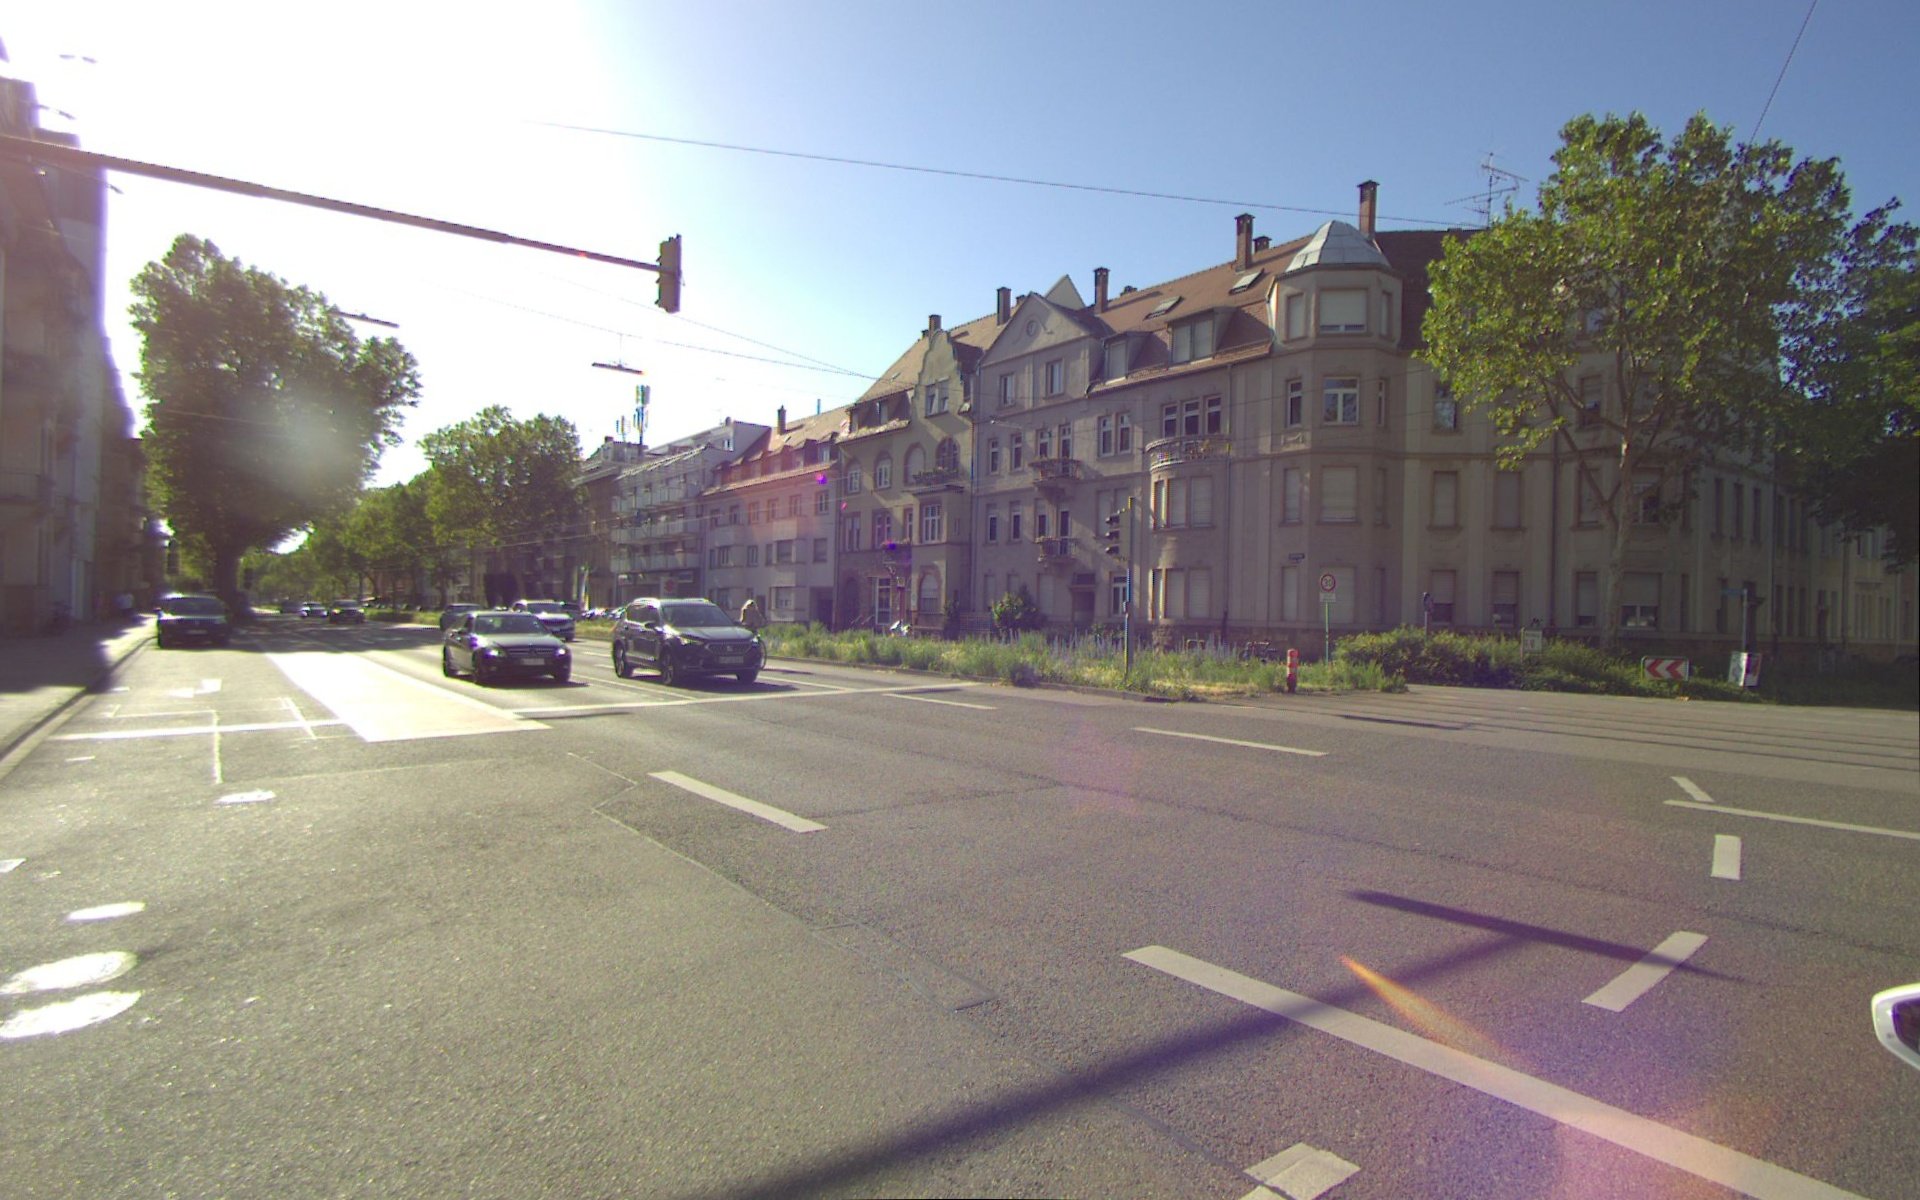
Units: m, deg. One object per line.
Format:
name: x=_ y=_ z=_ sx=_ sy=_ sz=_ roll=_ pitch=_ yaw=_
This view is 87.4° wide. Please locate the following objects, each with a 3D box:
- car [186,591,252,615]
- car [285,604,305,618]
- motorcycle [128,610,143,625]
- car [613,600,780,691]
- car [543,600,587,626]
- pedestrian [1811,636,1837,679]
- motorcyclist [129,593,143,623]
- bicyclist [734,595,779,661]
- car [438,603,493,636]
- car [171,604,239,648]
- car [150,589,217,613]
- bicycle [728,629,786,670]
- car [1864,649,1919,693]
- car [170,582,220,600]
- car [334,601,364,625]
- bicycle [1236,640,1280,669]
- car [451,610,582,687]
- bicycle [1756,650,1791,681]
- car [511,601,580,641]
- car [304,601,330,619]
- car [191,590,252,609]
car: x=-57.622 y=0.186 z=78.182 sx=1.809 sy=1.729 sz=3.810 roll=2 pitch=1 yaw=13
car: x=-77.806 y=1.290 z=117.483 sx=1.704 sy=1.572 sz=3.763 roll=1 pitch=-1 yaw=-30
motorcycle: x=-40.617 y=0.872 z=49.484 sx=0.539 sy=0.686 sz=1.284 roll=3 pitch=-2 yaw=-39
car: x=-5.518 y=0.829 z=20.662 sx=1.981 sy=1.667 sz=4.198 roll=0 pitch=0 yaw=-36
car: x=-29.111 y=0.958 z=73.955 sx=1.968 sy=1.860 sz=4.071 roll=2 pitch=-1 yaw=-37
pedestrian: x=34.498 y=2.289 z=40.102 sx=0.883 sy=1.680 sz=0.458 roll=2 pitch=-1 yaw=-28
motorcyclist: x=-40.609 y=0.380 z=49.509 sx=0.448 sy=1.466 sz=0.551 roll=3 pitch=-1 yaw=-39
bicyclist: x=-4.990 y=0.673 z=24.607 sx=0.680 sy=1.563 sz=1.064 roll=2 pitch=-1 yaw=-36
car: x=-24.595 y=0.942 z=49.936 sx=1.750 sy=1.550 sz=3.854 roll=0 pitch=0 yaw=-38
car: x=-25.930 y=0.860 z=34.587 sx=1.749 sy=1.407 sz=3.857 roll=2 pitch=-1 yaw=-36
car: x=-60.279 y=0.038 z=78.015 sx=1.809 sy=1.729 sz=3.810 roll=2 pitch=1 yaw=13
bicycle: x=-4.984 y=1.193 z=24.561 sx=0.787 sy=0.937 sz=1.621 roll=1 pitch=0 yaw=-36
car: x=34.279 y=2.506 z=35.025 sx=1.599 sy=1.495 sz=3.857 roll=3 pitch=-2 yaw=-35
car: x=-80.375 y=-0.926 z=105.556 sx=1.817 sy=1.729 sz=3.793 roll=3 pitch=2 yaw=38
car: x=-42.001 y=0.893 z=69.103 sx=1.704 sy=1.572 sz=3.967 roll=1 pitch=-1 yaw=-30
bicycle: x=10.348 y=1.890 z=34.868 sx=0.493 sy=0.917 sz=1.422 roll=2 pitch=-1 yaw=-39
car: x=-9.354 y=0.944 z=21.024 sx=1.749 sy=1.408 sz=3.857 roll=1 pitch=-1 yaw=-36
bicycle: x=32.288 y=2.582 z=39.858 sx=1.963 sy=1.169 sz=0.510 roll=1 pitch=2 yaw=-36
car: x=-16.891 y=0.829 z=40.854 sx=1.749 sy=1.550 sz=3.979 roll=2 pitch=-1 yaw=-36
car: x=-56.663 y=0.877 z=88.529 sx=1.704 sy=1.572 sz=3.763 roll=1 pitch=-1 yaw=-30
car: x=-70.506 y=-0.060 z=95.956 sx=1.809 sy=1.729 sz=4.594 roll=2 pitch=1 yaw=15
